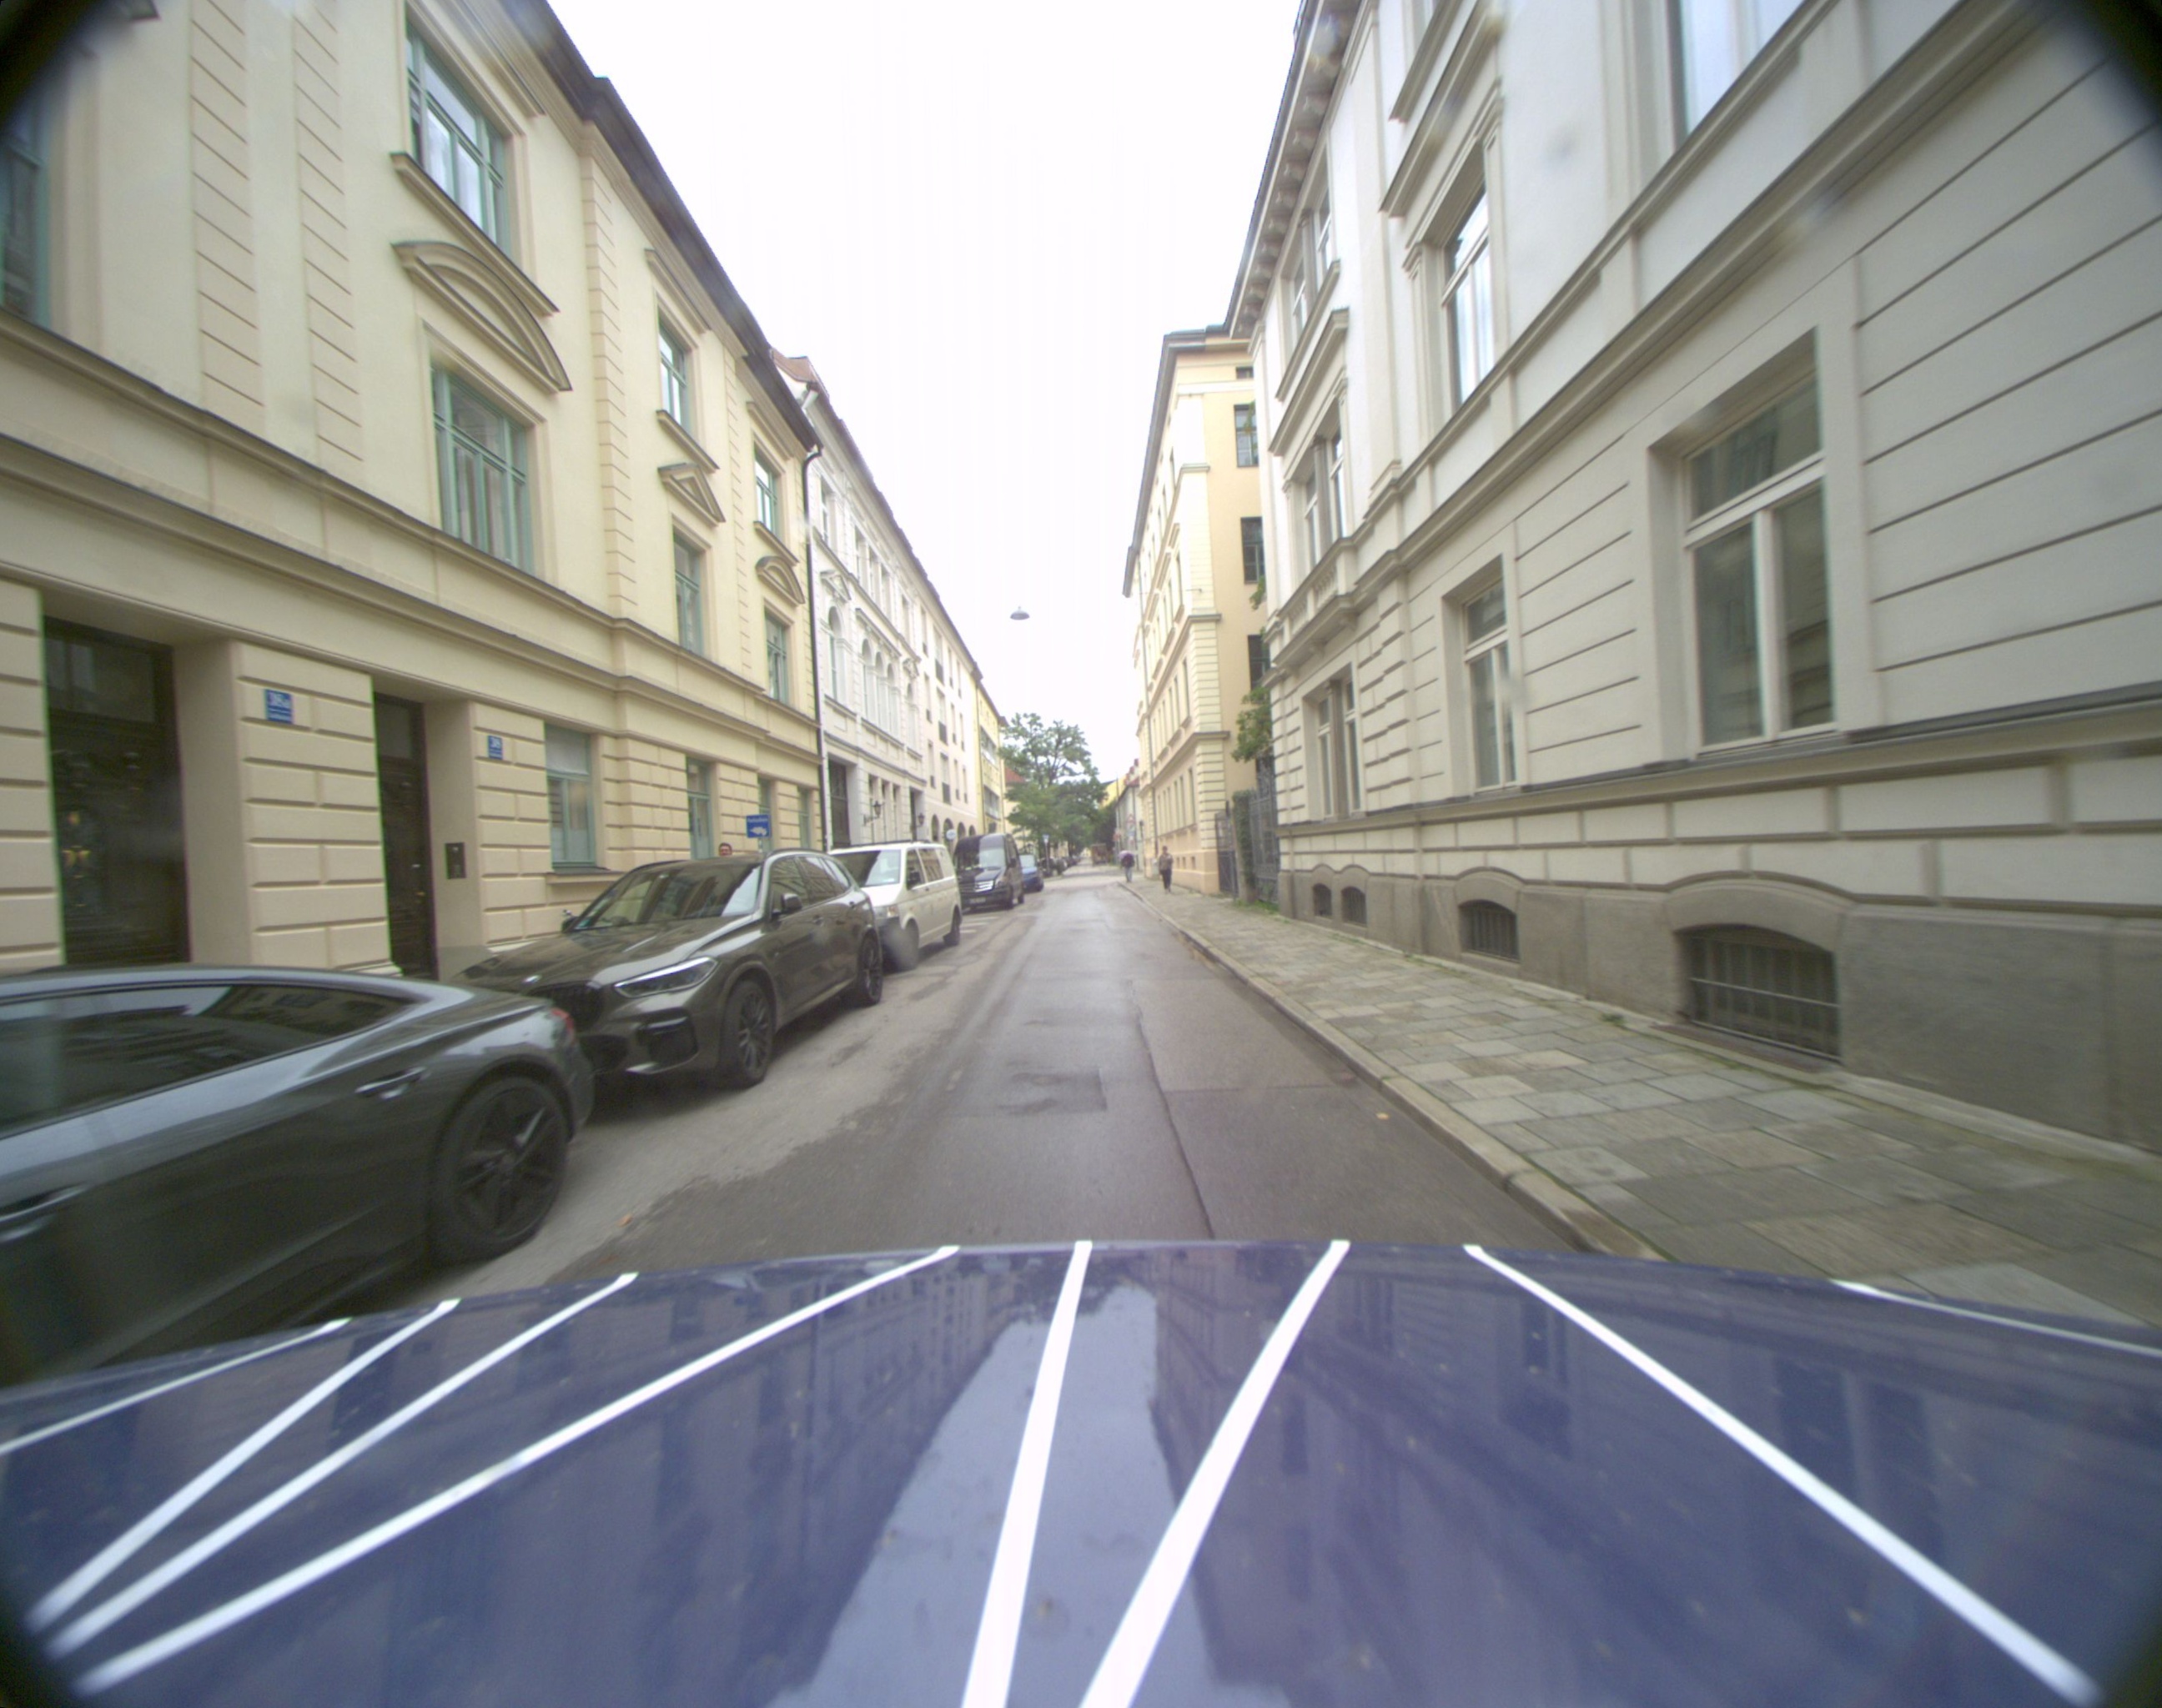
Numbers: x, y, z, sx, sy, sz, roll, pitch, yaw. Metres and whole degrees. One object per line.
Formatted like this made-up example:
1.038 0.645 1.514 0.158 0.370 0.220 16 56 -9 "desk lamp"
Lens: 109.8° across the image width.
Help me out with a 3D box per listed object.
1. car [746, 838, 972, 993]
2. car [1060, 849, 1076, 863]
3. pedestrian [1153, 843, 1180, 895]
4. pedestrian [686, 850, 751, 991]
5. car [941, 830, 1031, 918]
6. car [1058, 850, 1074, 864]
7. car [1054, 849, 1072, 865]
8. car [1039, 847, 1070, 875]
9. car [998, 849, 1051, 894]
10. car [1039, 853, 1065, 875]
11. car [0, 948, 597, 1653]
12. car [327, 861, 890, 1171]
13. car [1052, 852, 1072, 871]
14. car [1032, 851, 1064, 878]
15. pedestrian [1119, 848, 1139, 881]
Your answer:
-3.345 0.817 12.721 1.998 2.002 5.064 -3 0 3 "car"
-2.076 0.344 123.343 2.014 1.969 5.090 -7 0 2 "car"
2.978 0.515 26.507 0.766 1.742 0.970 -3 1 0 "pedestrian"
-5.239 0.939 10.998 0.581 1.966 0.455 -3 1 0 "pedestrian"
-3.085 0.604 25.824 2.014 2.479 5.090 -7 0 2 "car"
-2.210 0.445 116.572 2.014 1.969 5.090 -7 0 2 "car"
-2.450 0.387 103.064 2.014 1.969 5.090 -7 0 2 "car"
-2.353 0.586 68.856 2.242 2.247 5.090 -7 0 2 "car"
-2.839 0.839 39.244 2.014 1.989 5.090 -7 0 2 "car"
-2.884 0.957 76.825 2.014 1.969 5.090 -7 0 2 "car"
-3.420 1.158 1.388 1.998 1.306 4.593 -3 0 1 "car"
-3.333 0.977 6.701 1.998 1.677 4.510 -3 0 1 "car"
-2.262 0.881 91.928 2.014 1.969 5.090 -7 0 2 "car"
-2.648 0.801 62.392 2.014 1.914 5.090 -7 0 2 "car"
2.595 0.559 40.885 0.920 1.742 1.066 -3 1 0 "pedestrian"
